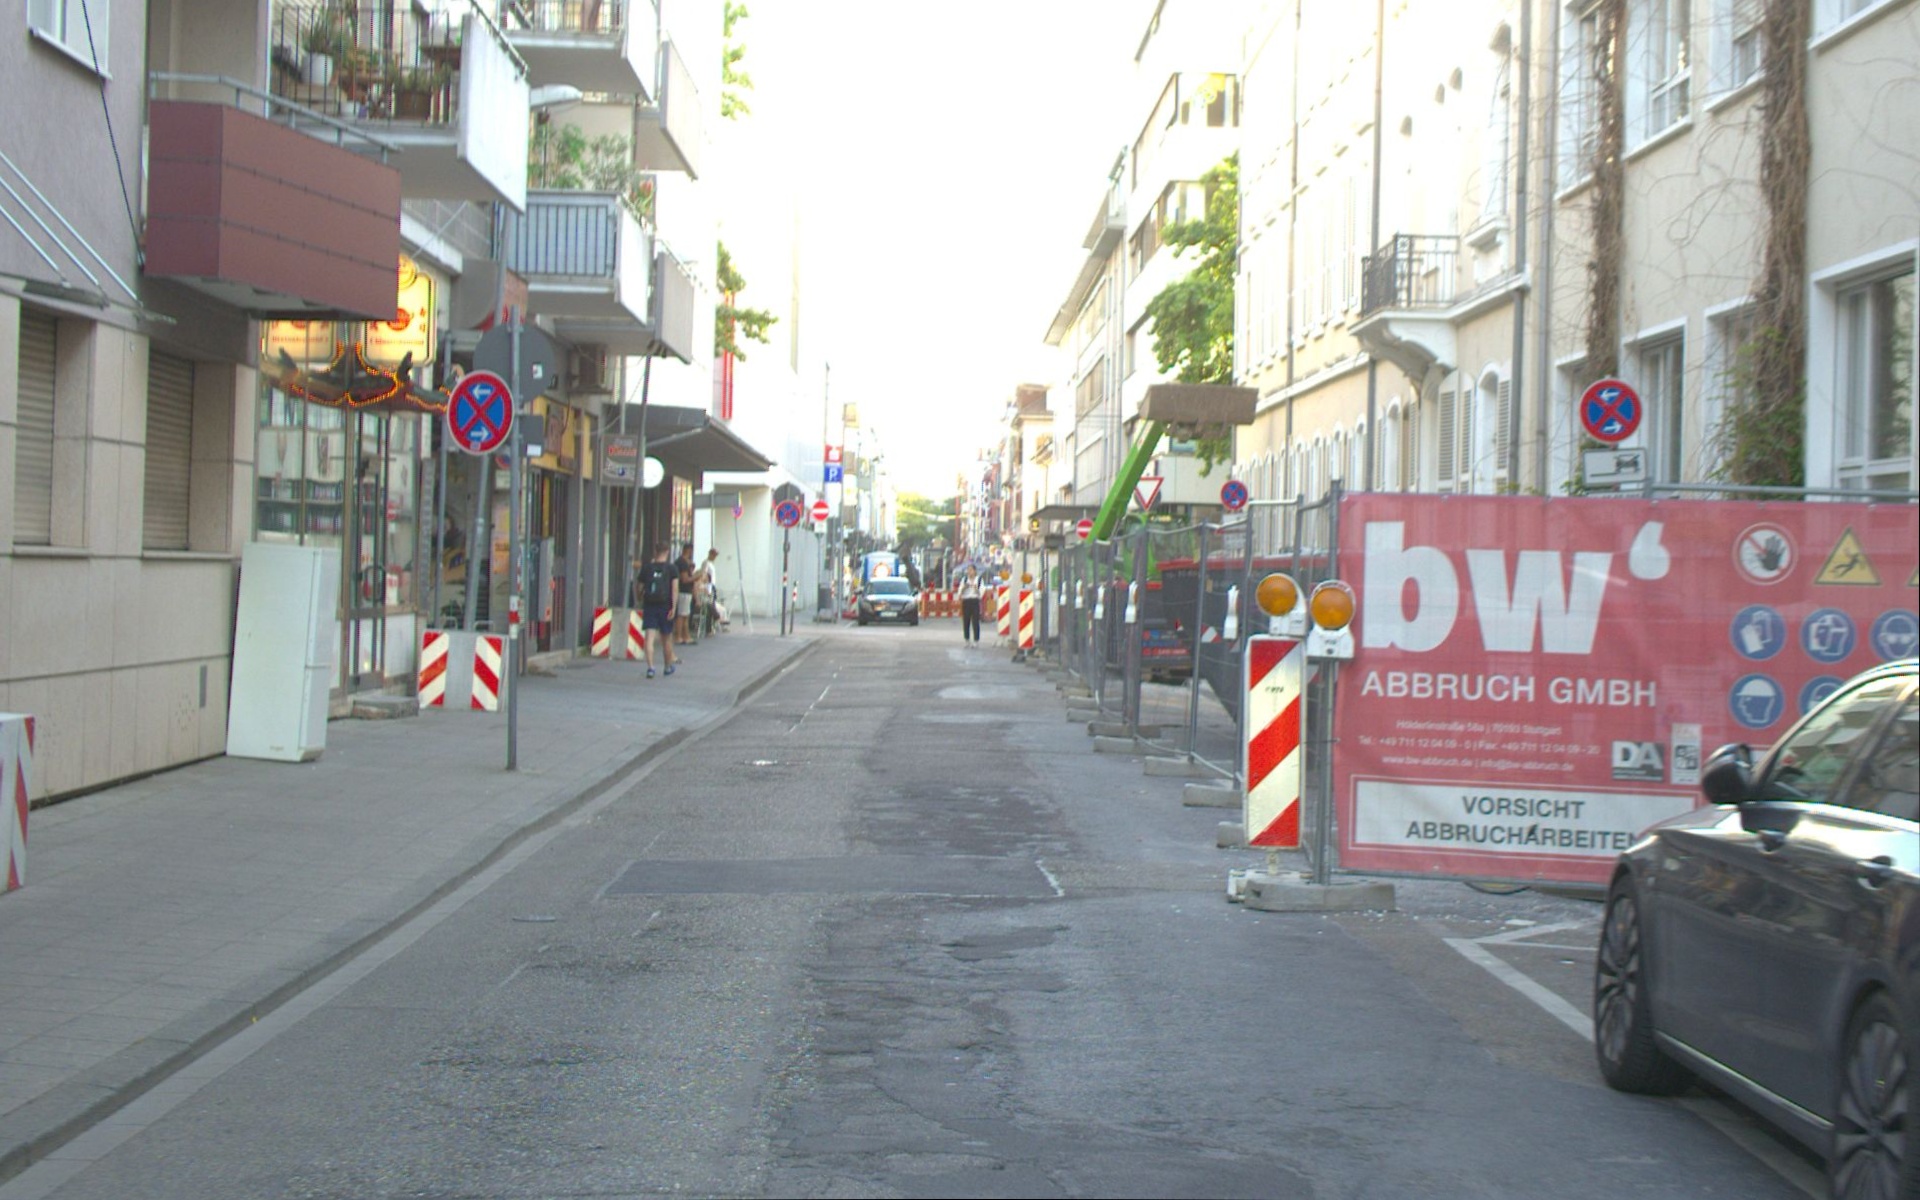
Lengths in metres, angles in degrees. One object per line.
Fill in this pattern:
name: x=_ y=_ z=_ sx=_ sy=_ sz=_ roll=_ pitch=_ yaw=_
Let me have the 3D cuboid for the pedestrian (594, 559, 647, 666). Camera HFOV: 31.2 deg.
pedestrian: x=-5.052 y=0.182 z=51.169 sx=0.645 sy=1.559 sz=0.631 roll=1 pitch=0 yaw=-15

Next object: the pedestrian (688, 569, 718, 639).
pedestrian: x=-5.173 y=0.074 z=69.202 sx=0.542 sy=1.383 sz=0.625 roll=1 pitch=0 yaw=0

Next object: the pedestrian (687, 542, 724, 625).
pedestrian: x=-5.592 y=-0.366 z=75.594 sx=0.645 sy=1.803 sz=0.631 roll=2 pitch=0 yaw=-17

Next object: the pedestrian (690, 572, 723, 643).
pedestrian: x=-5.005 y=0.137 z=67.989 sx=0.558 sy=1.386 sz=0.893 roll=1 pitch=0 yaw=-1

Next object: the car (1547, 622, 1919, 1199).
car: x=2.750 y=0.823 z=8.674 sx=1.693 sy=1.401 sz=4.479 roll=2 pitch=1 yaw=0

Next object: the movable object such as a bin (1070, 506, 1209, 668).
movable object such as a bin: x=3.625 y=-0.310 z=70.146 sx=2.470 sy=3.120 sz=4.298 roll=2 pitch=1 yaw=-1

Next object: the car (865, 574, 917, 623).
car: x=-2.021 y=-0.047 z=101.514 sx=1.474 sy=1.393 sz=3.332 roll=1 pitch=0 yaw=-1

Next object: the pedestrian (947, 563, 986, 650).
pedestrian: x=0.125 y=0.129 z=69.729 sx=0.720 sy=1.734 sz=0.647 roll=1 pitch=0 yaw=-3

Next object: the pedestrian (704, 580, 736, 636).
pedestrian: x=-5.056 y=0.171 z=72.480 sx=0.618 sy=1.168 sz=0.787 roll=1 pitch=0 yaw=-1

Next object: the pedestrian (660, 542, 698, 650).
pedestrian: x=-4.985 y=-0.073 z=60.954 sx=0.572 sy=1.880 sz=0.656 roll=1 pitch=0 yaw=2

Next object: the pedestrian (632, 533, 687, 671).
pedestrian: x=-3.978 y=0.028 z=45.572 sx=0.629 sy=1.802 sz=0.647 roll=1 pitch=0 yaw=1
